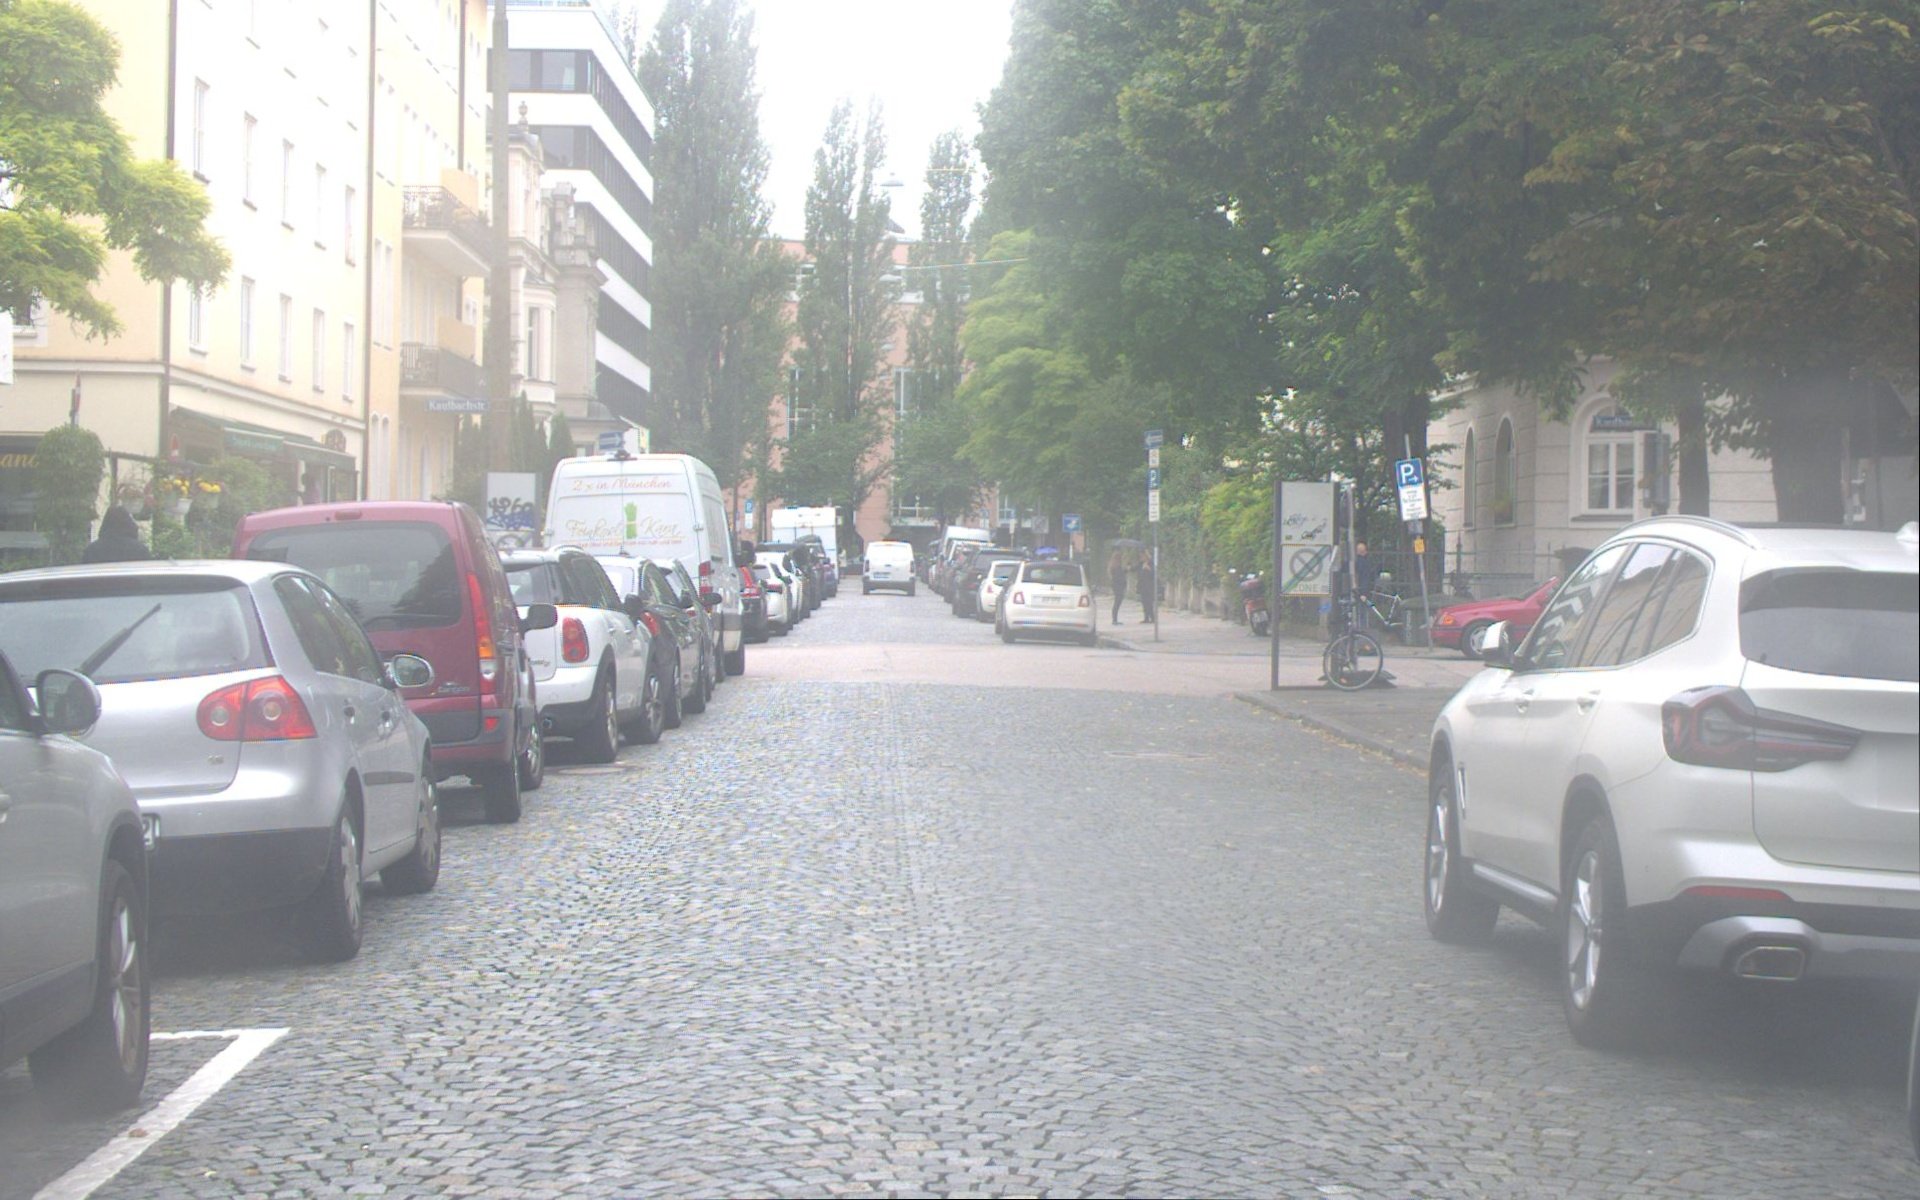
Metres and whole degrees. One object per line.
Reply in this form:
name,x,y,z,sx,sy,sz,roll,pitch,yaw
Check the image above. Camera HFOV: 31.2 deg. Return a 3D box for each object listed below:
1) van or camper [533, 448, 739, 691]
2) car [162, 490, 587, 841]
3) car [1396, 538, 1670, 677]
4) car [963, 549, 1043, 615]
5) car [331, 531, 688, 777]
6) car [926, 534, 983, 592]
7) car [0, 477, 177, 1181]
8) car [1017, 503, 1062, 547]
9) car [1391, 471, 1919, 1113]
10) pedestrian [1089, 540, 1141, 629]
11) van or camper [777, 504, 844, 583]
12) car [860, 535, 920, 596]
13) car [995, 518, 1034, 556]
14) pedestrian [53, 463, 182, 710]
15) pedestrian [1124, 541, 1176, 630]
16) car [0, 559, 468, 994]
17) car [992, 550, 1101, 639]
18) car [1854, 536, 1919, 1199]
van or camper,-3.753,-0.371,40.441,1.993,2.643,4.000,-2,1,-1
car,-3.320,0.314,20.247,1.873,1.770,4.123,-3,1,-2
car,8.701,0.093,52.488,3.988,2.007,2.000,1,1,6
car,0.999,-0.457,82.224,1.790,1.515,4.000,1,1,-1
car,-3.232,0.343,25.468,1.873,1.574,4.208,3,1,2
car,-0.217,-1.355,125.376,1.993,2.007,4.000,2,1,-1
car,-3.109,0.537,7.782,1.873,1.574,4.256,-2,1,-3
car,3.783,-3.579,164.473,1.993,2.007,4.000,1,0,-1
car,2.803,0.533,11.798,1.873,1.727,4.593,4,1,-1
pedestrian,3.531,-0.352,78.586,0.856,2.007,0.991,1,1,-18
van or camper,-5.408,-2.042,125.012,2.256,2.733,5.098,2,1,-1
car,-2.388,-1.200,118.618,1.993,2.007,4.000,1,1,-1
car,3.004,-3.463,188.991,1.993,2.007,4.000,1,0,-1
pedestrian,-6.696,-0.109,27.346,0.792,1.911,0.759,2,1,-1
pedestrian,4.370,-0.339,79.045,0.856,2.007,0.991,1,1,-18
car,-3.121,0.582,13.857,1.873,1.446,4.208,-1,1,-3
car,1.520,-0.122,61.595,1.790,1.515,4.000,1,1,-1
car,2.934,0.745,5.294,1.817,1.574,4.208,4,1,-2
